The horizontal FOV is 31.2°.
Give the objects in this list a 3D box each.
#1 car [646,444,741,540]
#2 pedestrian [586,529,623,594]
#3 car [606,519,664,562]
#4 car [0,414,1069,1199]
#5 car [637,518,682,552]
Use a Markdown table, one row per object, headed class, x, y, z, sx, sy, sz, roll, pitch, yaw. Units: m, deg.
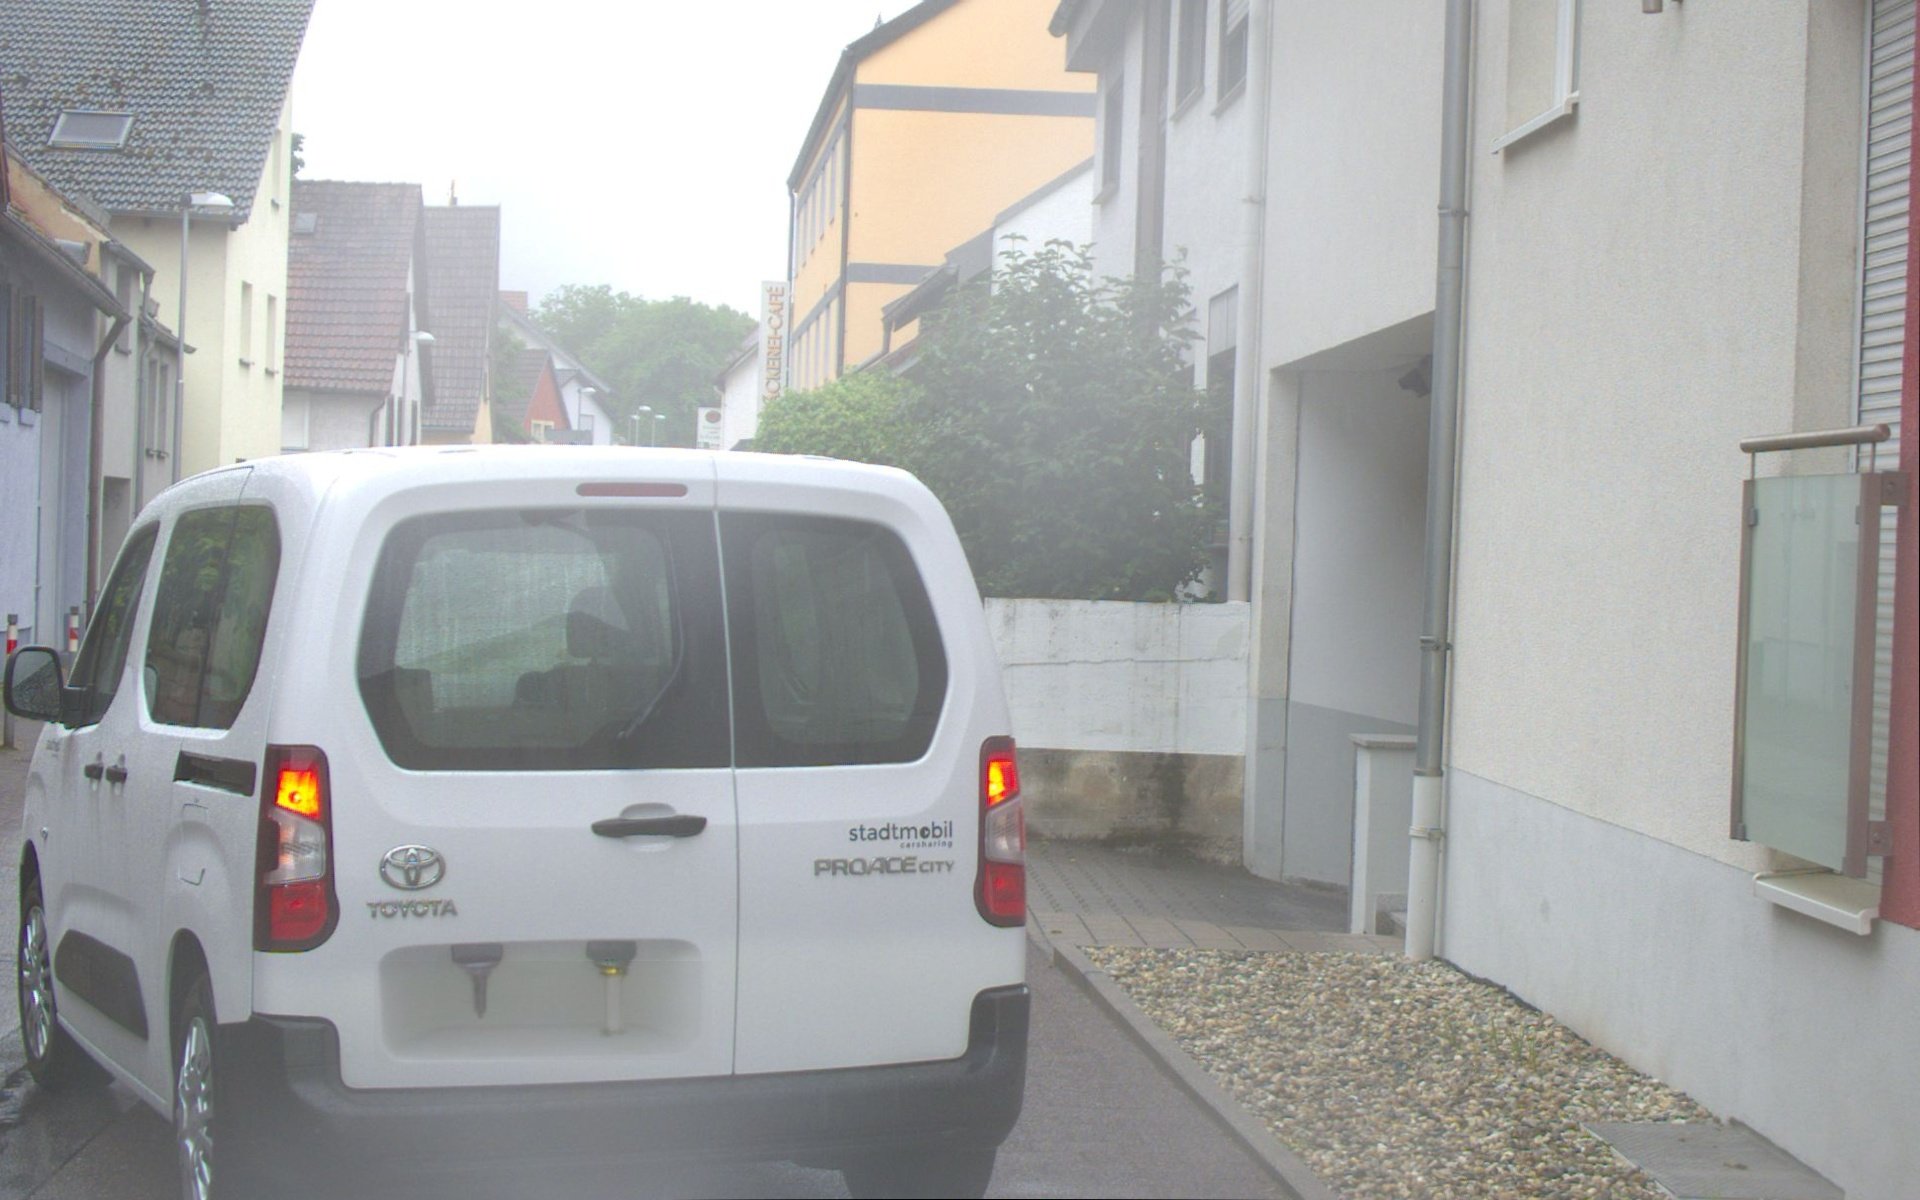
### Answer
| class | x | y | z | sx | sy | sz | roll | pitch | yaw |
| --- | --- | --- | --- | --- | --- | --- | --- | --- | --- |
| car | -5.862 | -2.363 | 76.020 | 1.993 | 2.007 | 4.001 | 1 | 1 | -3 |
| pedestrian | -10.442 | -1.142 | 100.893 | 1.050 | 1.886 | 0.877 | 1 | 0 | -6 |
| car | -13.100 | -2.413 | 138.683 | 1.993 | 1.554 | 3.432 | -1 | 3 | 0 |
| car | -1.341 | 0.512 | 8.751 | 1.774 | 1.774 | 4.001 | 1 | 1 | -21 |
| car | -13.630 | -2.942 | 156.256 | 1.589 | 1.436 | 3.766 | 3 | 0 | 1 |
